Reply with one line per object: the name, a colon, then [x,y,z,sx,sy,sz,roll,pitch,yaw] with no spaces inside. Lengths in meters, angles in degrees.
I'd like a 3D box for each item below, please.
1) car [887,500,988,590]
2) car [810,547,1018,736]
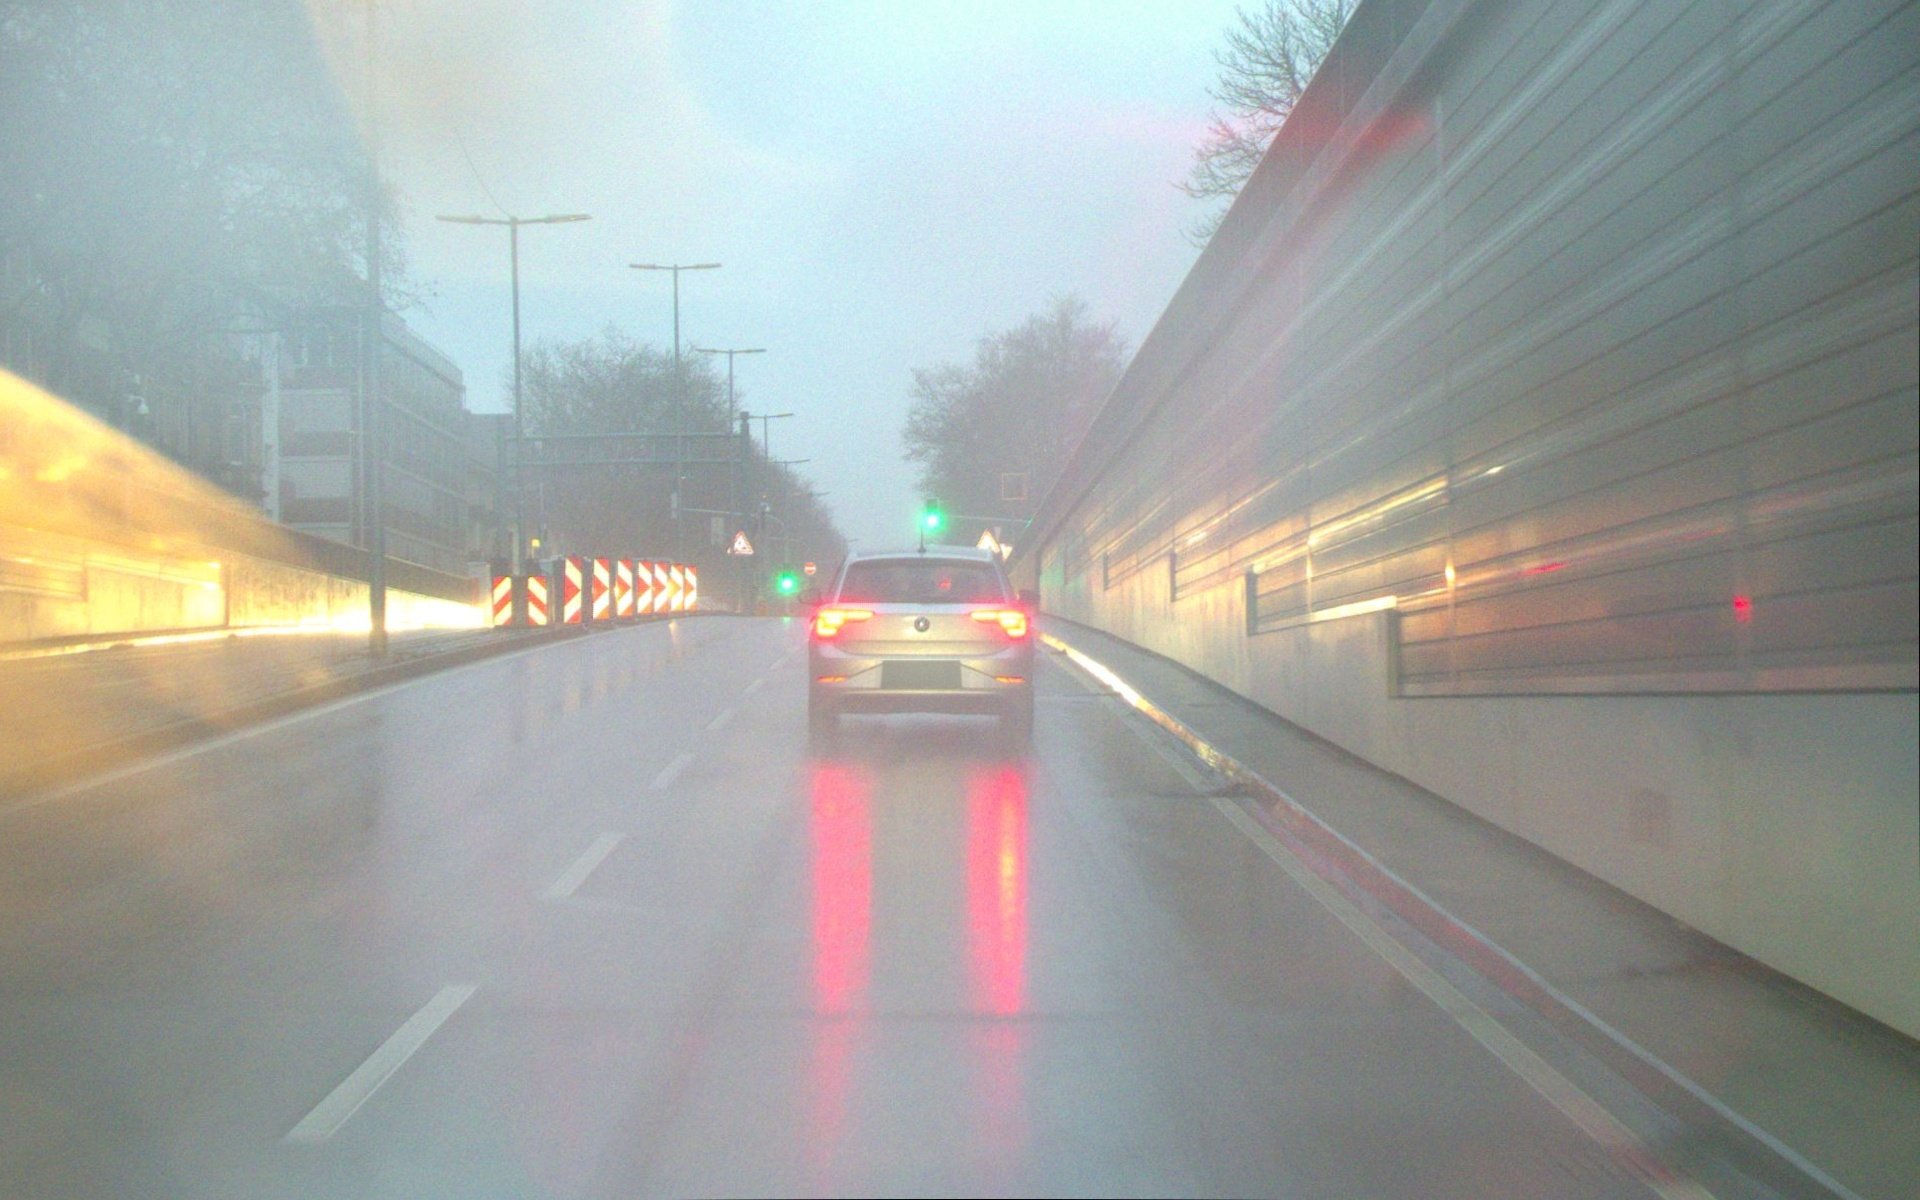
car: [-0.479,-1.102,69.928,1.880,1.615,4.000,1,-2,-3]
car: [-0.362,0.331,27.153,1.532,1.392,3.434,0,-1,-1]
